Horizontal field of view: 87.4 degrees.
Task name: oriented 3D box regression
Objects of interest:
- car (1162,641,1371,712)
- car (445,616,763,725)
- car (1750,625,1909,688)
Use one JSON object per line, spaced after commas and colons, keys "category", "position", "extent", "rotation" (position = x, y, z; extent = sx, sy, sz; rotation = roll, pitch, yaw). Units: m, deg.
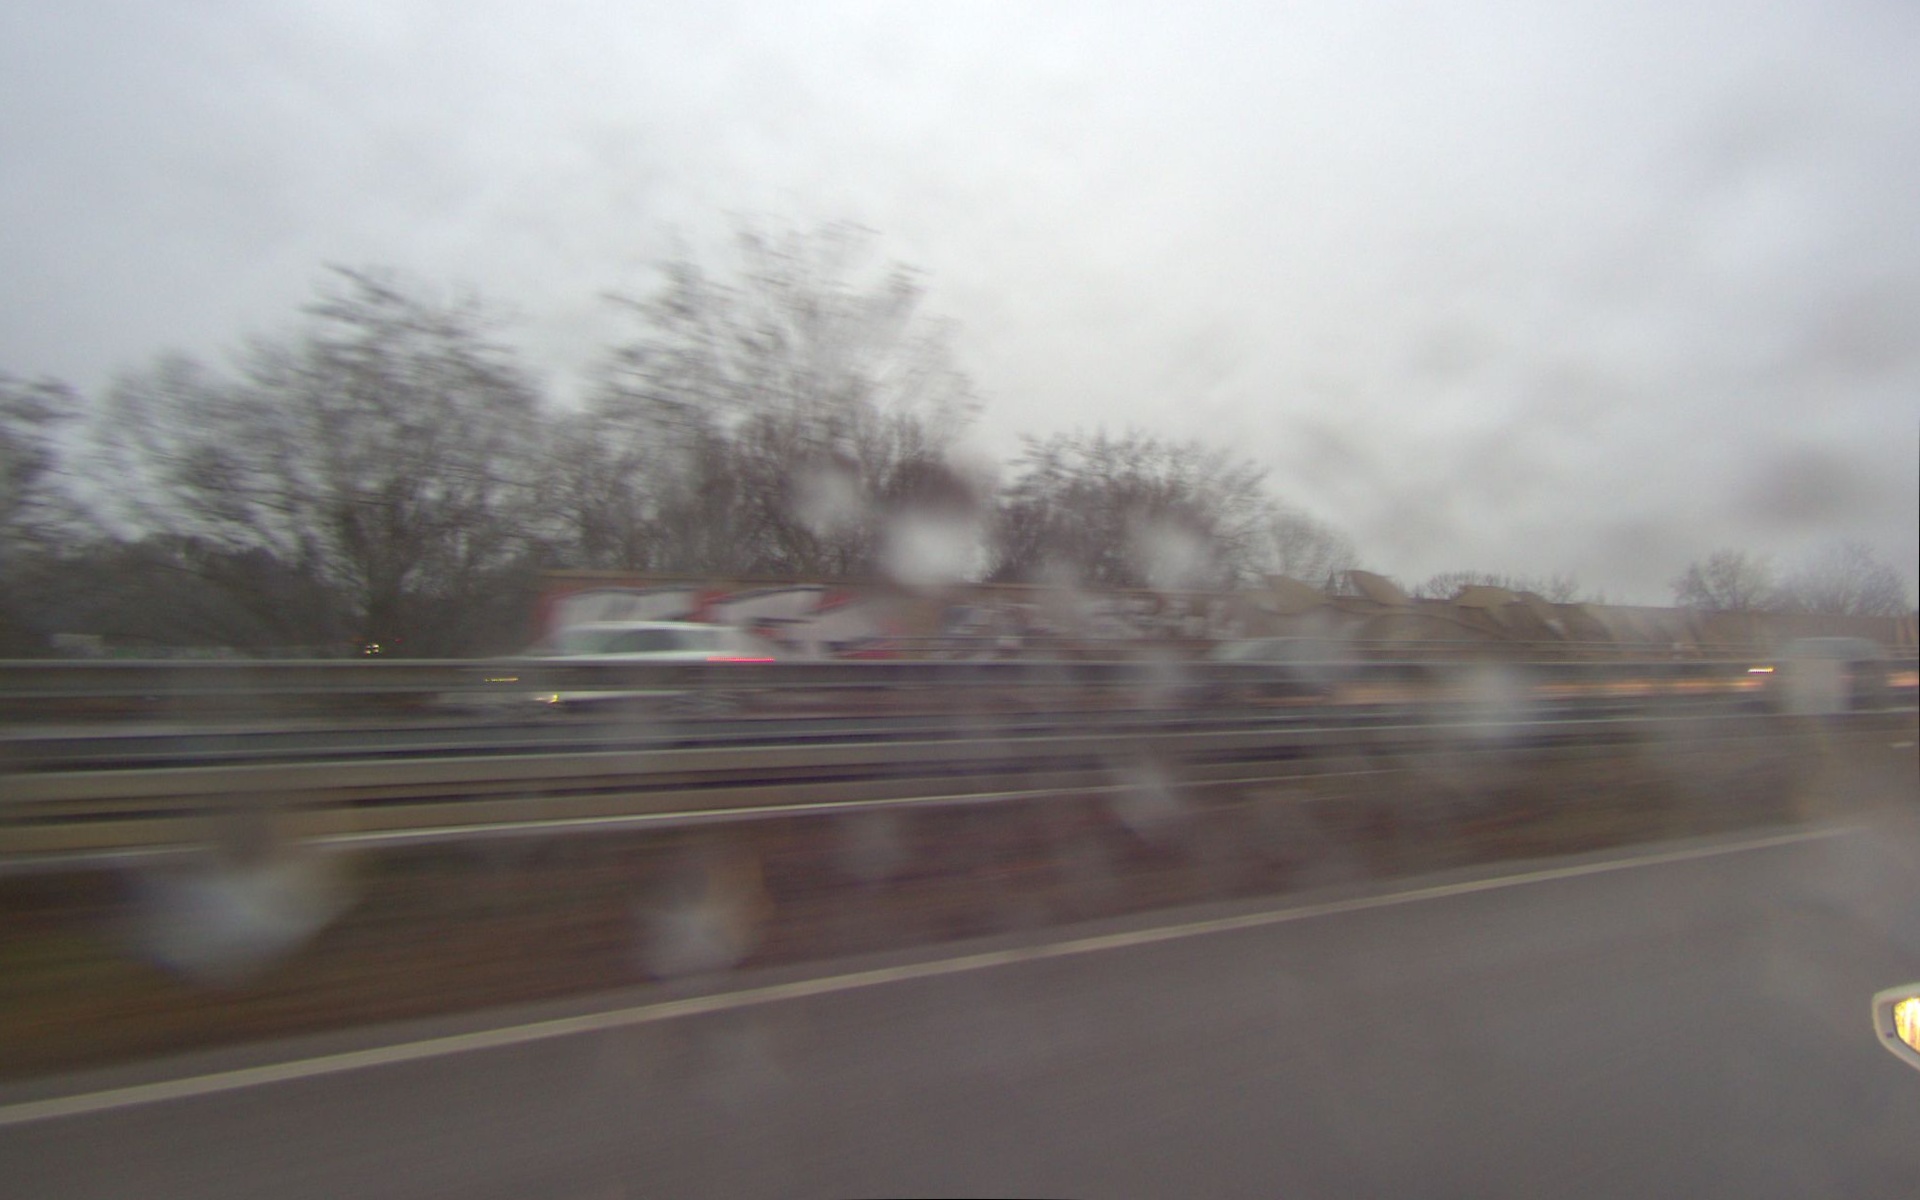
{"category": "car", "position": [6.823, 1.649, 22.371], "extent": [4.244, 1.422, 1.784], "rotation": [1, -1, -20]}
{"category": "car", "position": [-5.645, 1.105, 16.397], "extent": [4.606, 1.583, 1.839], "rotation": [1, 0, -16]}
{"category": "car", "position": [23.984, 1.514, 27.681], "extent": [4.792, 1.585, 1.778], "rotation": [1, -1, -29]}
